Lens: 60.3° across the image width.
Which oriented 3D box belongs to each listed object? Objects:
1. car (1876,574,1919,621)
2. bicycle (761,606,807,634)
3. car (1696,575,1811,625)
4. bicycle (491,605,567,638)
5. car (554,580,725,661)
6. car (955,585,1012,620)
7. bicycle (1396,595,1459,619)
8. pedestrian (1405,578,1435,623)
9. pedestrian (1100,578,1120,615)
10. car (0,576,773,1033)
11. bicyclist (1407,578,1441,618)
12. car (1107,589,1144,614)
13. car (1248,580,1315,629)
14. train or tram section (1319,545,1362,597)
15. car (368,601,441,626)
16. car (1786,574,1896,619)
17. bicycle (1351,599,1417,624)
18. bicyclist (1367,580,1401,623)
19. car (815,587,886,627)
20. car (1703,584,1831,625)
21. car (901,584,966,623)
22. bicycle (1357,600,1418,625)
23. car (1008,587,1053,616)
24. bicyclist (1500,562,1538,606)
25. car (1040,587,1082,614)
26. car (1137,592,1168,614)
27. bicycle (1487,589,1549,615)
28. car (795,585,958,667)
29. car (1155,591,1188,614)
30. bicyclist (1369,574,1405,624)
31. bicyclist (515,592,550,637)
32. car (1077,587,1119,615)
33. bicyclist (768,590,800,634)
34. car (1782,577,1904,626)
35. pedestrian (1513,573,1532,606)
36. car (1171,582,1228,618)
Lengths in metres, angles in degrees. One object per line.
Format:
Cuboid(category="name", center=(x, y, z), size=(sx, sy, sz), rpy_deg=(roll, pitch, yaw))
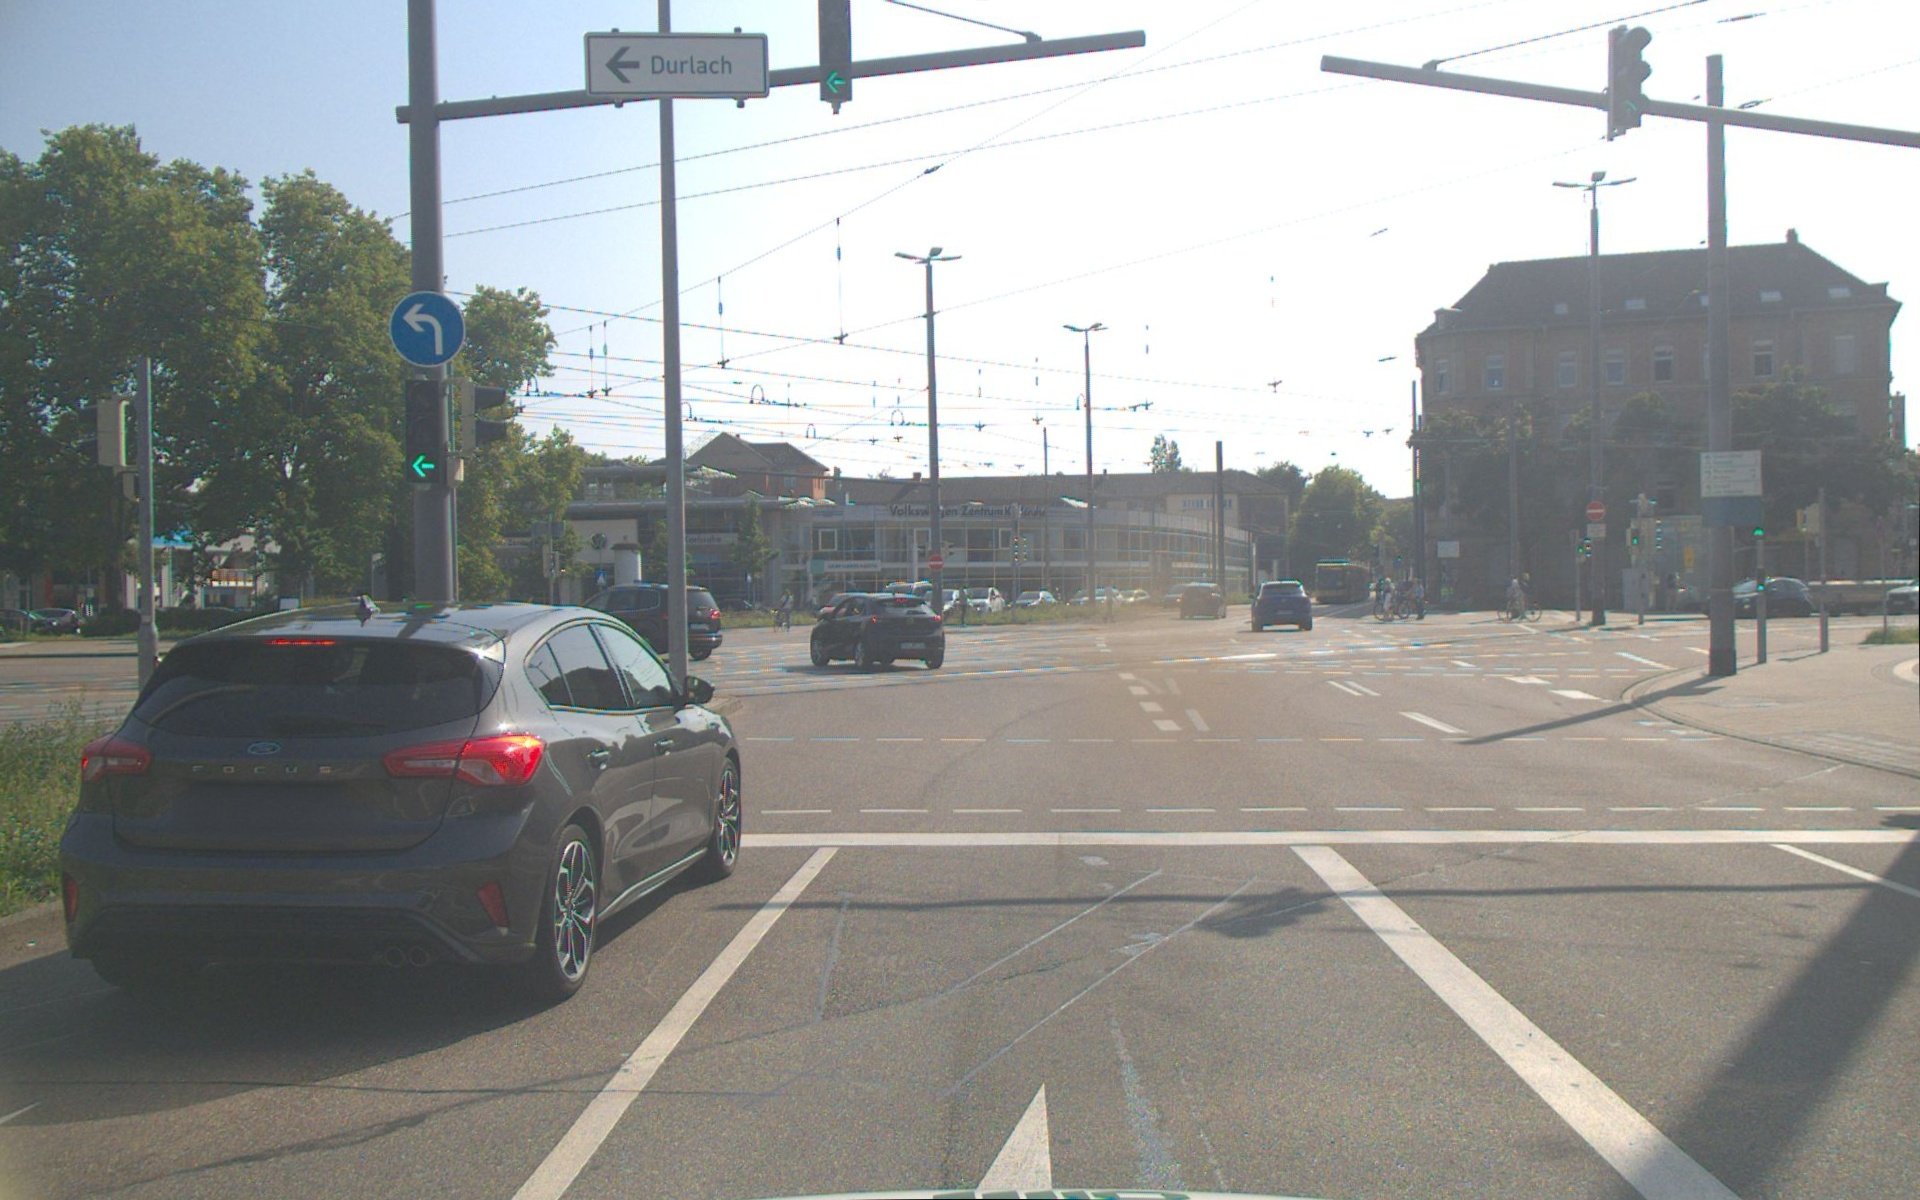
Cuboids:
Cuboid(category="car", center=(40.126, -0.118, 68.065), size=(4.594, 1.891, 2.027), rpy_deg=(-1, 0, -27))
Cuboid(category="bicycle", center=(-7.190, 0.808, 67.710), size=(0.937, 1.075, 2.610), rpy_deg=(-1, 0, 17))
Cuboid(category="car", center=(30.686, -0.015, 63.969), size=(4.186, 1.891, 1.893), rpy_deg=(-1, 0, -27))
Cuboid(category="bicycle", center=(-15.281, 0.751, 58.710), size=(2.555, 1.075, 0.957), rpy_deg=(-2, 0, -14))
Cuboid(category="car", center=(-7.458, 0.450, 38.249), size=(1.817, 1.744, 4.341), rpy_deg=(-1, 1, -44))
Cuboid(category="car", center=(1.101, 0.083, 76.113), size=(1.580, 1.501, 4.003), rpy_deg=(-3, 0, 16))
Cuboid(category="bicycle", center=(20.395, 0.295, 72.137), size=(2.583, 0.981, 1.085), rpy_deg=(-1, 0, -23))
Cuboid(category="pedestrian", center=(19.336, 0.017, 69.531), size=(0.919, 1.828, 0.847), rpy_deg=(-1, 0, -40))
Cuboid(category="pedestrian", center=(6.275, -0.156, 69.241), size=(0.761, 1.529, 0.711), rpy_deg=(-1, 0, 10))
Cuboid(category="car", center=(-2.185, 0.652, 7.616), size=(1.793, 1.460, 4.553), rpy_deg=(-1, 0, 4))
Cuboid(category="bicyclist", center=(20.216, -0.076, 72.053), size=(0.921, 1.709, 1.085), rpy_deg=(-1, 0, -23))
Cuboid(category="car", center=(10.745, 0.108, 106.977), size=(1.580, 1.501, 4.002), rpy_deg=(-3, 0, 17))
Cuboid(category="car", center=(10.273, 0.114, 53.099), size=(1.786, 1.453, 4.416), rpy_deg=(-1, 1, 7))
Cuboid(category="train or tram section", center=(29.235, -2.243, 126.696), size=(2.598, 3.763, 10.597), rpy_deg=(-1, 1, 16))
Cuboid(category="car", center=(-36.410, 0.867, 108.488), size=(1.669, 1.549, 4.503), rpy_deg=(-1, 0, 32))
Cuboid(category="car", center=(39.013, -0.159, 73.231), size=(4.193, 1.891, 1.922), rpy_deg=(-1, 0, -18))
Cuboid(category="bicycle", center=(18.103, 0.494, 70.604), size=(2.583, 0.981, 1.085), rpy_deg=(-1, 0, -23))
Cuboid(category="bicyclist", center=(18.083, 0.065, 70.594), size=(0.921, 1.831, 1.085), rpy_deg=(-1, 0, -23))
Cuboid(category="car", center=(-4.462, 0.265, 67.809), size=(1.580, 1.501, 4.003), rpy_deg=(-3, 0, 16))
Cuboid(category="car", center=(29.167, 0.155, 59.770), size=(4.321, 1.421, 2.006), rpy_deg=(-1, 0, -27))
Cuboid(category="car", center=(-1.090, 0.132, 69.896), size=(1.580, 1.501, 4.003), rpy_deg=(-3, 0, 16))
Cuboid(category="bicycle", center=(17.677, 0.513, 68.335), size=(2.598, 0.981, 1.079), rpy_deg=(-1, 1, -37))
Cuboid(category="car", center=(4.003, 0.062, 93.281), size=(1.580, 1.501, 4.002), rpy_deg=(-3, 0, 17))
Cuboid(category="bicyclist", center=(22.290, -0.639, 65.974), size=(0.927, 1.738, 1.079), rpy_deg=(-1, 0, -36))
Cuboid(category="car", center=(6.142, 0.003, 100.366), size=(1.580, 1.501, 4.002), rpy_deg=(-3, 0, 17))
Cuboid(category="car", center=(14.416, 0.220, 123.663), size=(1.580, 1.501, 4.002), rpy_deg=(-3, 0, 17))
Cuboid(category="bicycle", center=(22.244, 0.089, 65.932), size=(2.598, 0.981, 1.079), rpy_deg=(-1, 0, -37))
Cuboid(category="car", center=(-1.731, 0.515, 32.820), size=(1.662, 1.518, 4.335), rpy_deg=(0, -1, -26))
Cuboid(category="car", center=(14.918, 0.196, 116.426), size=(1.580, 1.501, 4.002), rpy_deg=(-3, 0, 17))
Cuboid(category="bicyclist", center=(17.632, -0.040, 68.310), size=(0.927, 2.059, 1.079), rpy_deg=(-1, 0, -36))
Cuboid(category="bicyclist", center=(-15.176, 0.510, 58.729), size=(1.142, 1.554, 0.958), rpy_deg=(-1, 0, -13))
Cuboid(category="car", center=(8.043, 0.049, 96.099), size=(1.580, 1.501, 4.002), rpy_deg=(-3, 0, 17))
Cuboid(category="bicyclist", center=(-7.201, 0.471, 67.680), size=(0.937, 1.779, 1.167), rpy_deg=(-1, 0, 17))
Cuboid(category="car", center=(35.276, 0.047, 66.069), size=(4.634, 1.891, 1.895), rpy_deg=(-1, 0, -25))
Cuboid(category="pedestrian", center=(25.965, -0.483, 76.343), size=(0.663, 1.496, 0.538), rpy_deg=(-1, 0, -43))
Cuboid(category="car", center=(10.990, -0.030, 75.637), size=(1.787, 1.562, 4.414), rpy_deg=(-1, 1, 18))
